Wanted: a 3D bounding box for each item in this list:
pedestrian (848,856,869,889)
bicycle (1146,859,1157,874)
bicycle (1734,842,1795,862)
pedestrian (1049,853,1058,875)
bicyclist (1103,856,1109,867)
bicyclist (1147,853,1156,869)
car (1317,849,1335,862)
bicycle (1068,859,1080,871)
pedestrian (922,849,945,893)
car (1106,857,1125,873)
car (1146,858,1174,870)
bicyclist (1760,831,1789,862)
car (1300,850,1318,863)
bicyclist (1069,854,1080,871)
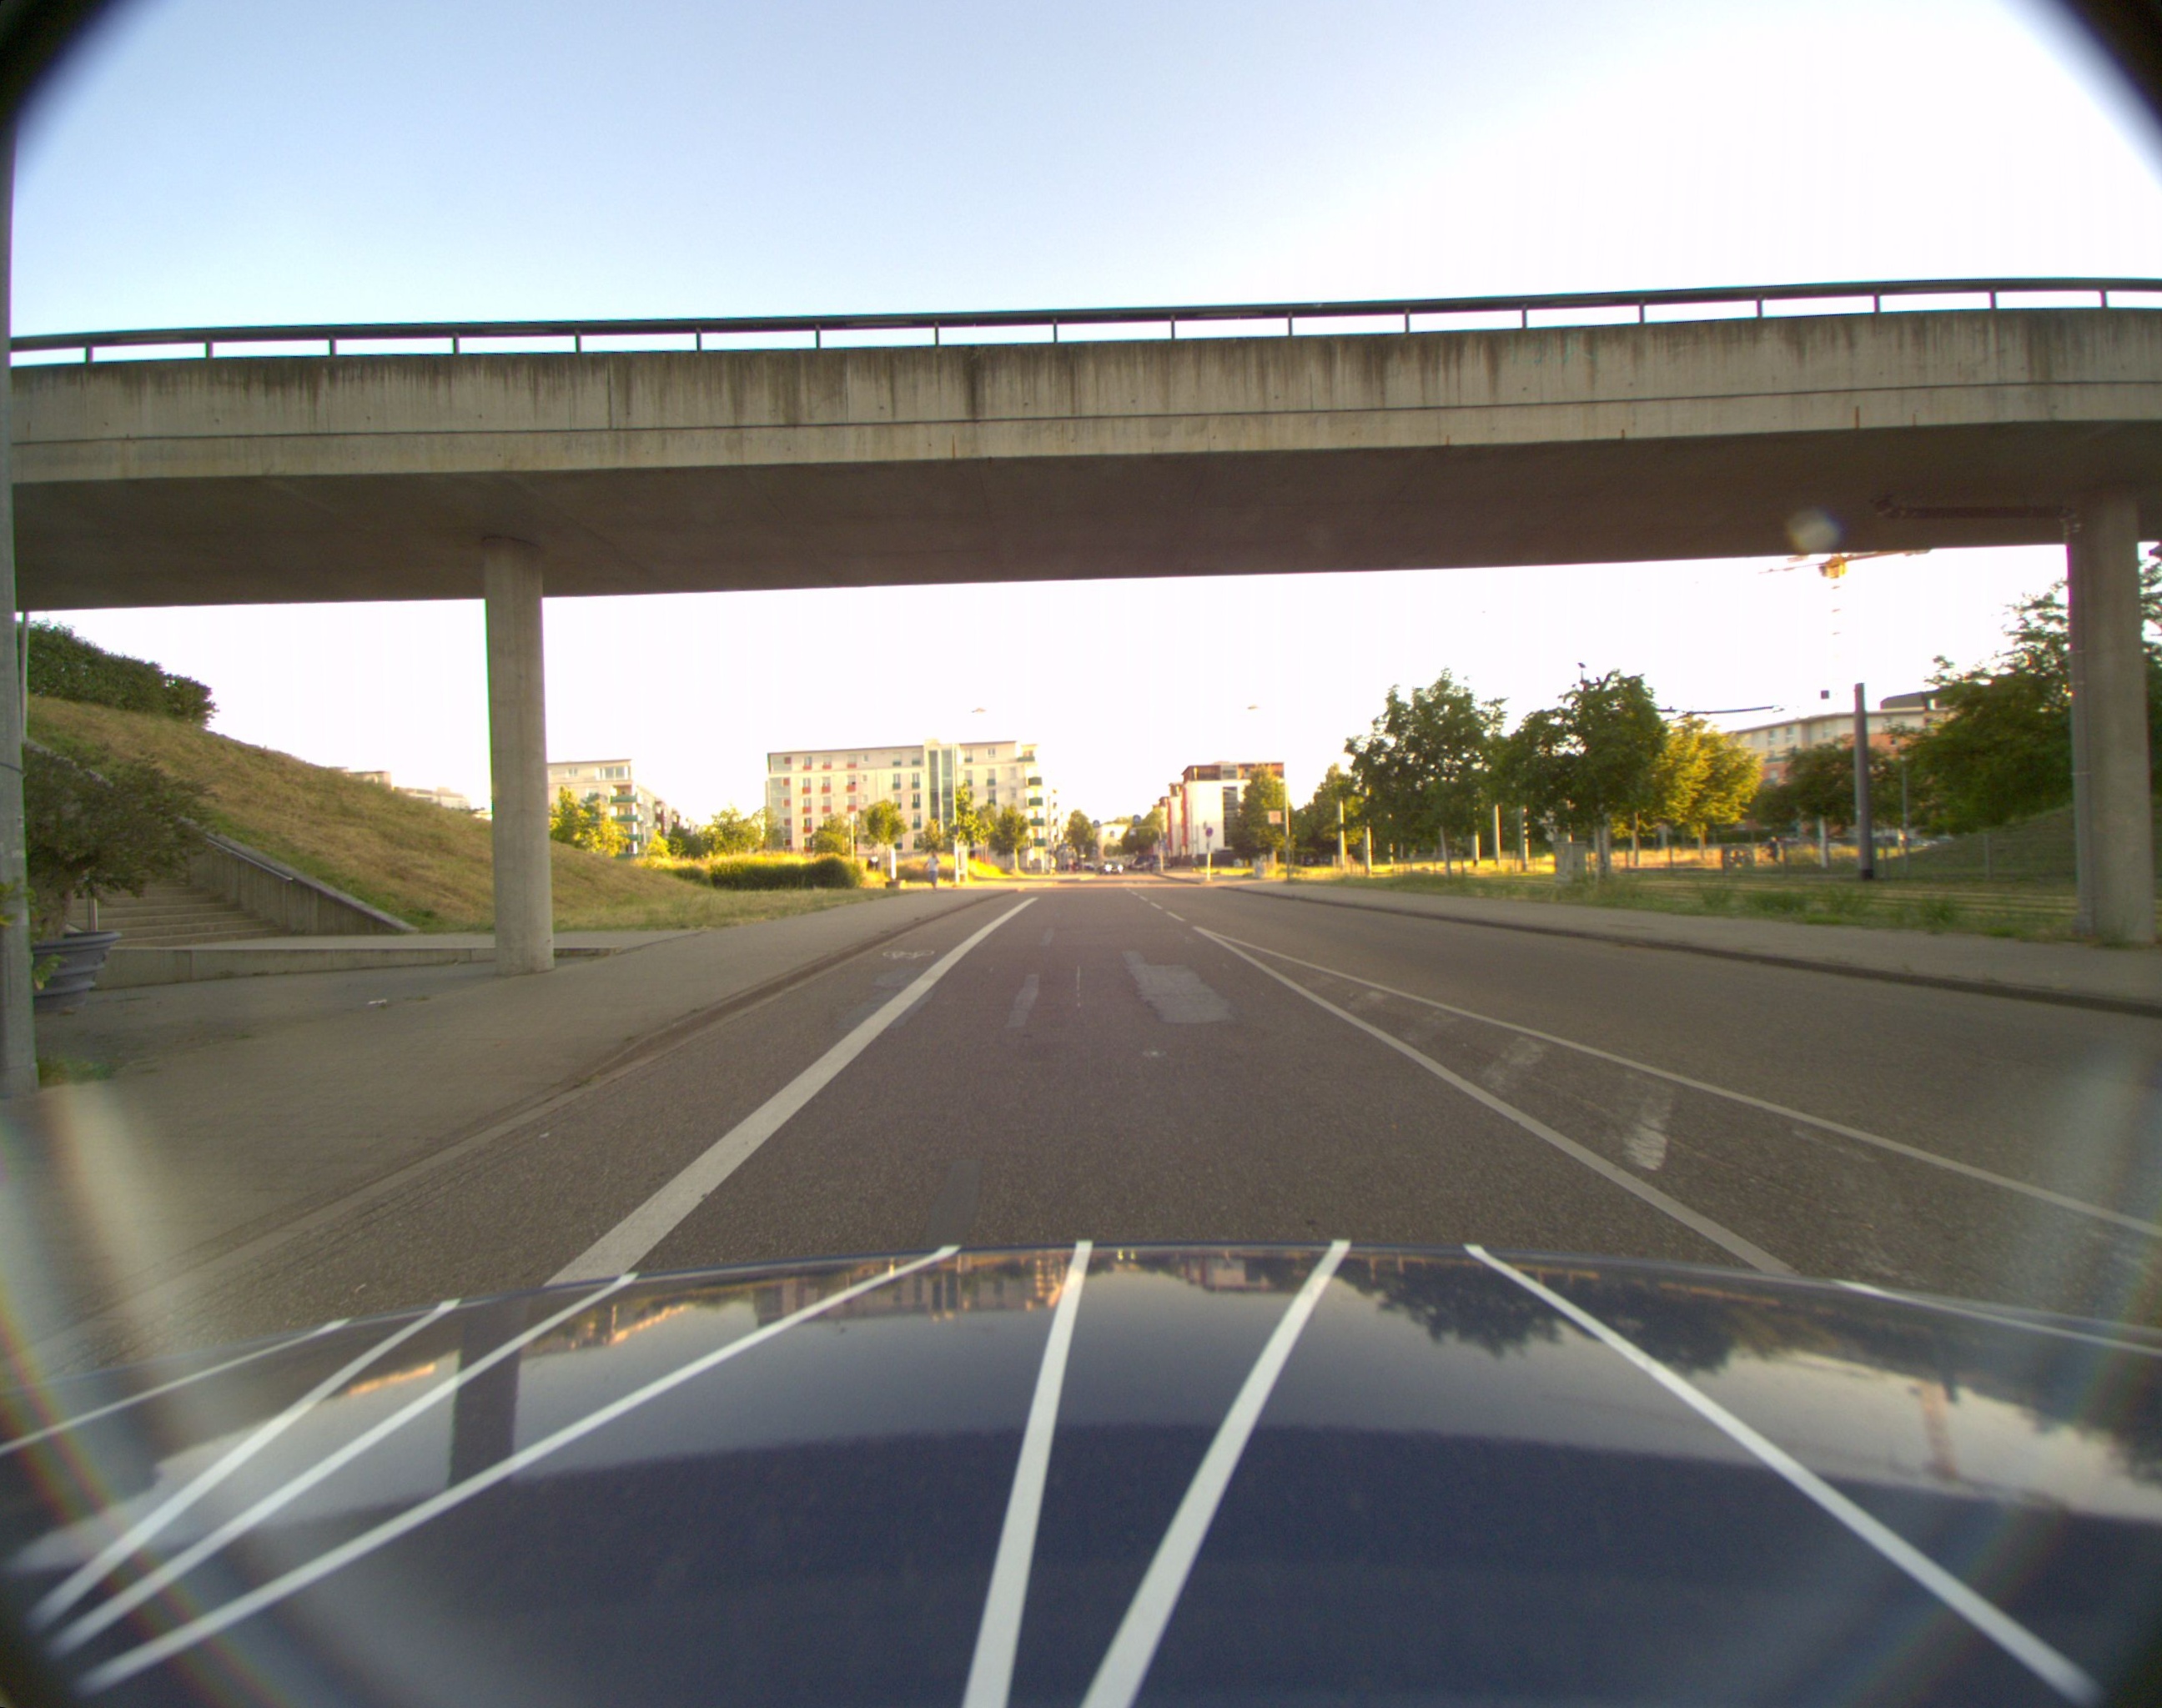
[{"bbox_3d":[-10.939,0.900,37.383,0.737,1.620,0.859,0,0,2],"label":"pedestrian"},{"bbox_3d":[7.686,1.309,82.667,1.017,1.560,3.544,-2,0,7],"label":"bicycle"},{"bbox_3d":[37.488,-0.101,41.687,2.842,1.002,0.655,-2,0,-4],"label":"bicycle"},{"bbox_3d":[-2.158,0.754,59.854,0.737,1.714,0.532,0,0,1],"label":"pedestrian"},{"bbox_3d":[3.543,1.049,107.703,0.696,1.630,0.853,-2,0,18],"label":"bicyclist"},{"bbox_3d":[7.613,0.755,82.431,0.857,1.653,0.920,-2,0,8],"label":"bicyclist"},{"bbox_3d":[31.100,0.133,96.537,1.942,1.521,4.004,-2,0,14],"label":"car"},{"bbox_3d":[-0.687,1.027,72.286,0.900,1.142,3.497,-2,0,-4],"label":"bicycle"},{"bbox_3d":[-5.932,0.673,30.611,0.737,1.714,0.906,0,0,1],"label":"pedestrian"},{"bbox_3d":[3.393,1.080,76.014,1.739,1.455,4.000,-2,0,1],"label":"car"},{"bbox_3d":[11.827,1.485,113.857,3.996,1.718,2.000,-2,0,2],"label":"car"},{"bbox_3d":[38.097,-0.412,41.746,0.910,1.622,0.717,-2,0,-4],"label":"bicyclist"},{"bbox_3d":[29.047,0.273,97.039,1.942,1.521,4.004,-2,0,14],"label":"car"},{"bbox_3d":[-0.638,0.783,71.464,0.932,1.585,1.067,-2,0,-1],"label":"bicyclist"}]
